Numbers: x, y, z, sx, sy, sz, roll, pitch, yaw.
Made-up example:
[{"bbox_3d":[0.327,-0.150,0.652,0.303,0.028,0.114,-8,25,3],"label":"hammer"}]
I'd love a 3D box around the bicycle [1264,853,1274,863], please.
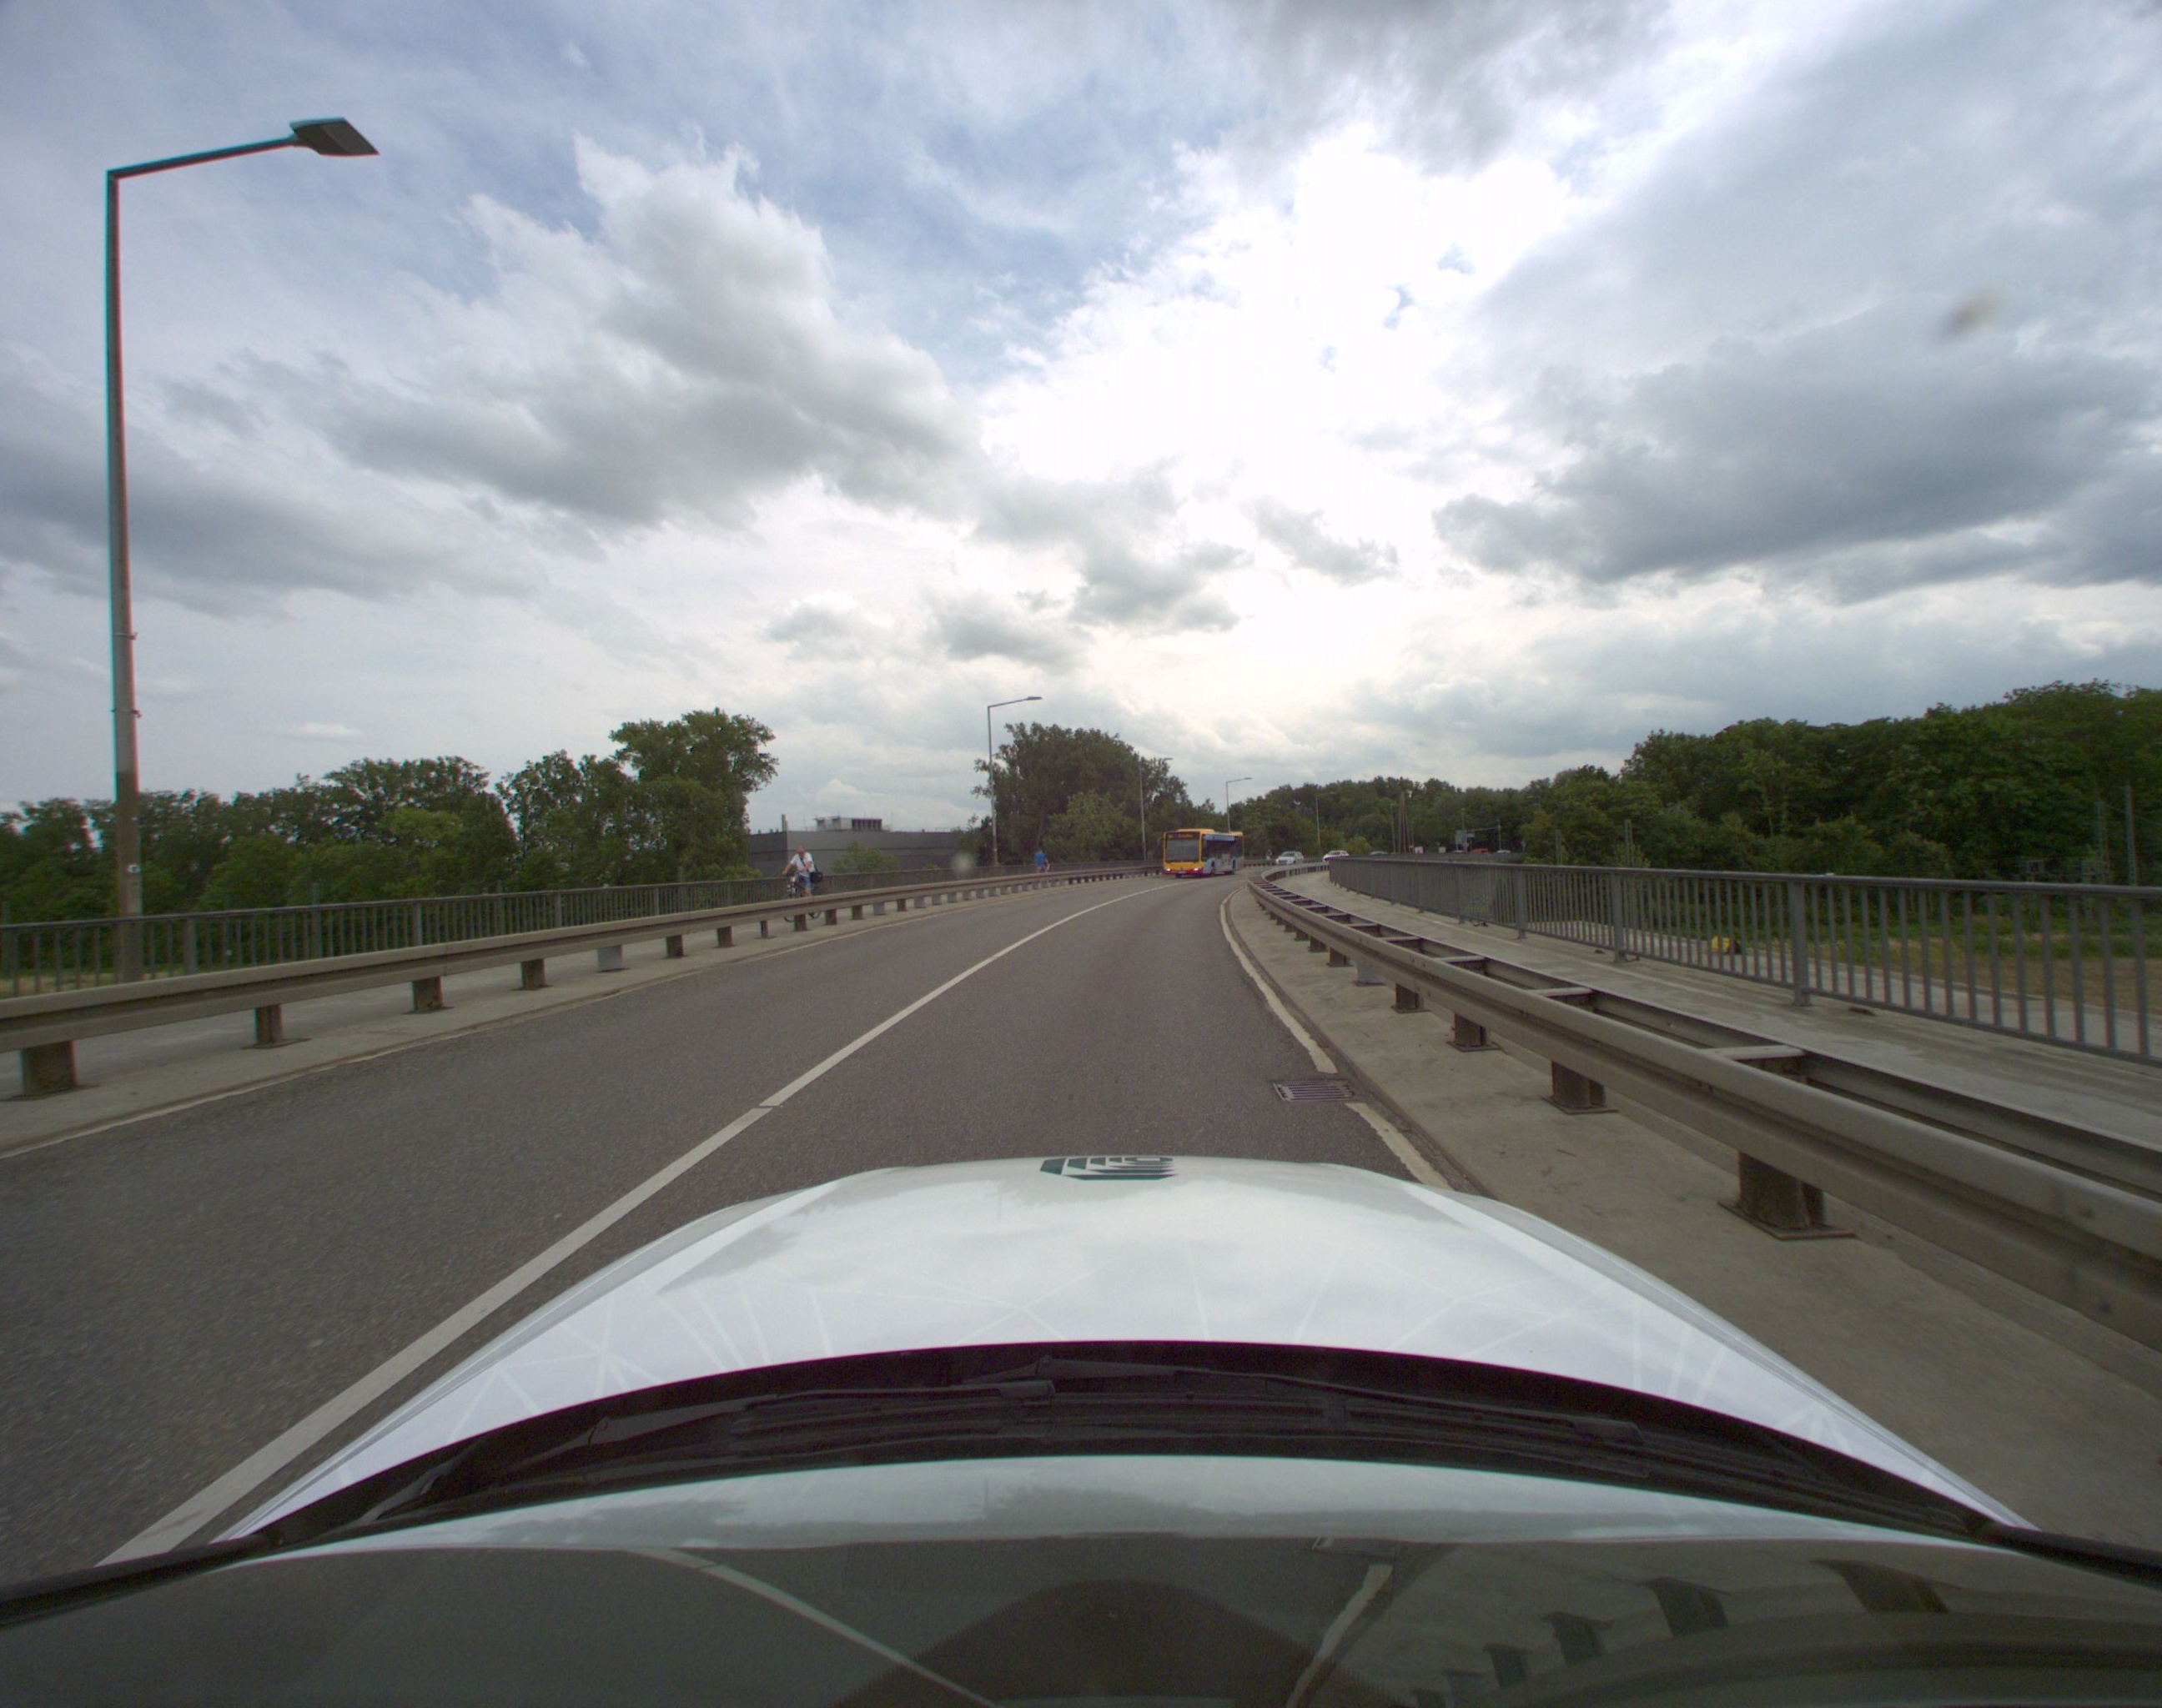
[{"bbox_3d":[20.118,0.469,87.124,0.640,1.067,1.771,-1,0,24],"label":"bicycle"}]

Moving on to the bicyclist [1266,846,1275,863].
[{"bbox_3d":[20.269,0.104,87.149,0.841,1.808,0.801,-1,-1,24],"label":"bicyclist"}]

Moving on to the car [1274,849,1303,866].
[{"bbox_3d":[20.364,0.327,79.847,1.801,1.620,4.424,-1,0,28],"label":"car"}]

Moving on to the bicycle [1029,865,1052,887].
[{"bbox_3d":[-1.935,1.040,39.082,0.488,1.045,1.818,-1,0,17],"label":"bicycle"}]

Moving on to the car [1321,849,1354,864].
[{"bbox_3d":[28.658,0.248,90.756,1.922,1.593,4.804,-1,0,38],"label":"car"}]

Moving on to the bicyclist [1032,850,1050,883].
[{"bbox_3d":[-1.925,0.585,39.103,0.605,1.540,0.761,-1,-1,22],"label":"bicyclist"}]

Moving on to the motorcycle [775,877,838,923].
[{"bbox_3d":[-6.337,1.038,18.912,0.622,0.963,1.844,-1,0,7],"label":"motorcycle"}]

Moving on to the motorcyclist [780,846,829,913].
[{"bbox_3d":[-6.436,0.586,18.977,0.805,1.529,0.826,-1,0,6],"label":"motorcyclist"}]

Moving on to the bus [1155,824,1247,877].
[{"bbox_3d":[8.518,-0.199,55.640,3.005,3.233,13.022,-1,0,23],"label":"bus"}]
